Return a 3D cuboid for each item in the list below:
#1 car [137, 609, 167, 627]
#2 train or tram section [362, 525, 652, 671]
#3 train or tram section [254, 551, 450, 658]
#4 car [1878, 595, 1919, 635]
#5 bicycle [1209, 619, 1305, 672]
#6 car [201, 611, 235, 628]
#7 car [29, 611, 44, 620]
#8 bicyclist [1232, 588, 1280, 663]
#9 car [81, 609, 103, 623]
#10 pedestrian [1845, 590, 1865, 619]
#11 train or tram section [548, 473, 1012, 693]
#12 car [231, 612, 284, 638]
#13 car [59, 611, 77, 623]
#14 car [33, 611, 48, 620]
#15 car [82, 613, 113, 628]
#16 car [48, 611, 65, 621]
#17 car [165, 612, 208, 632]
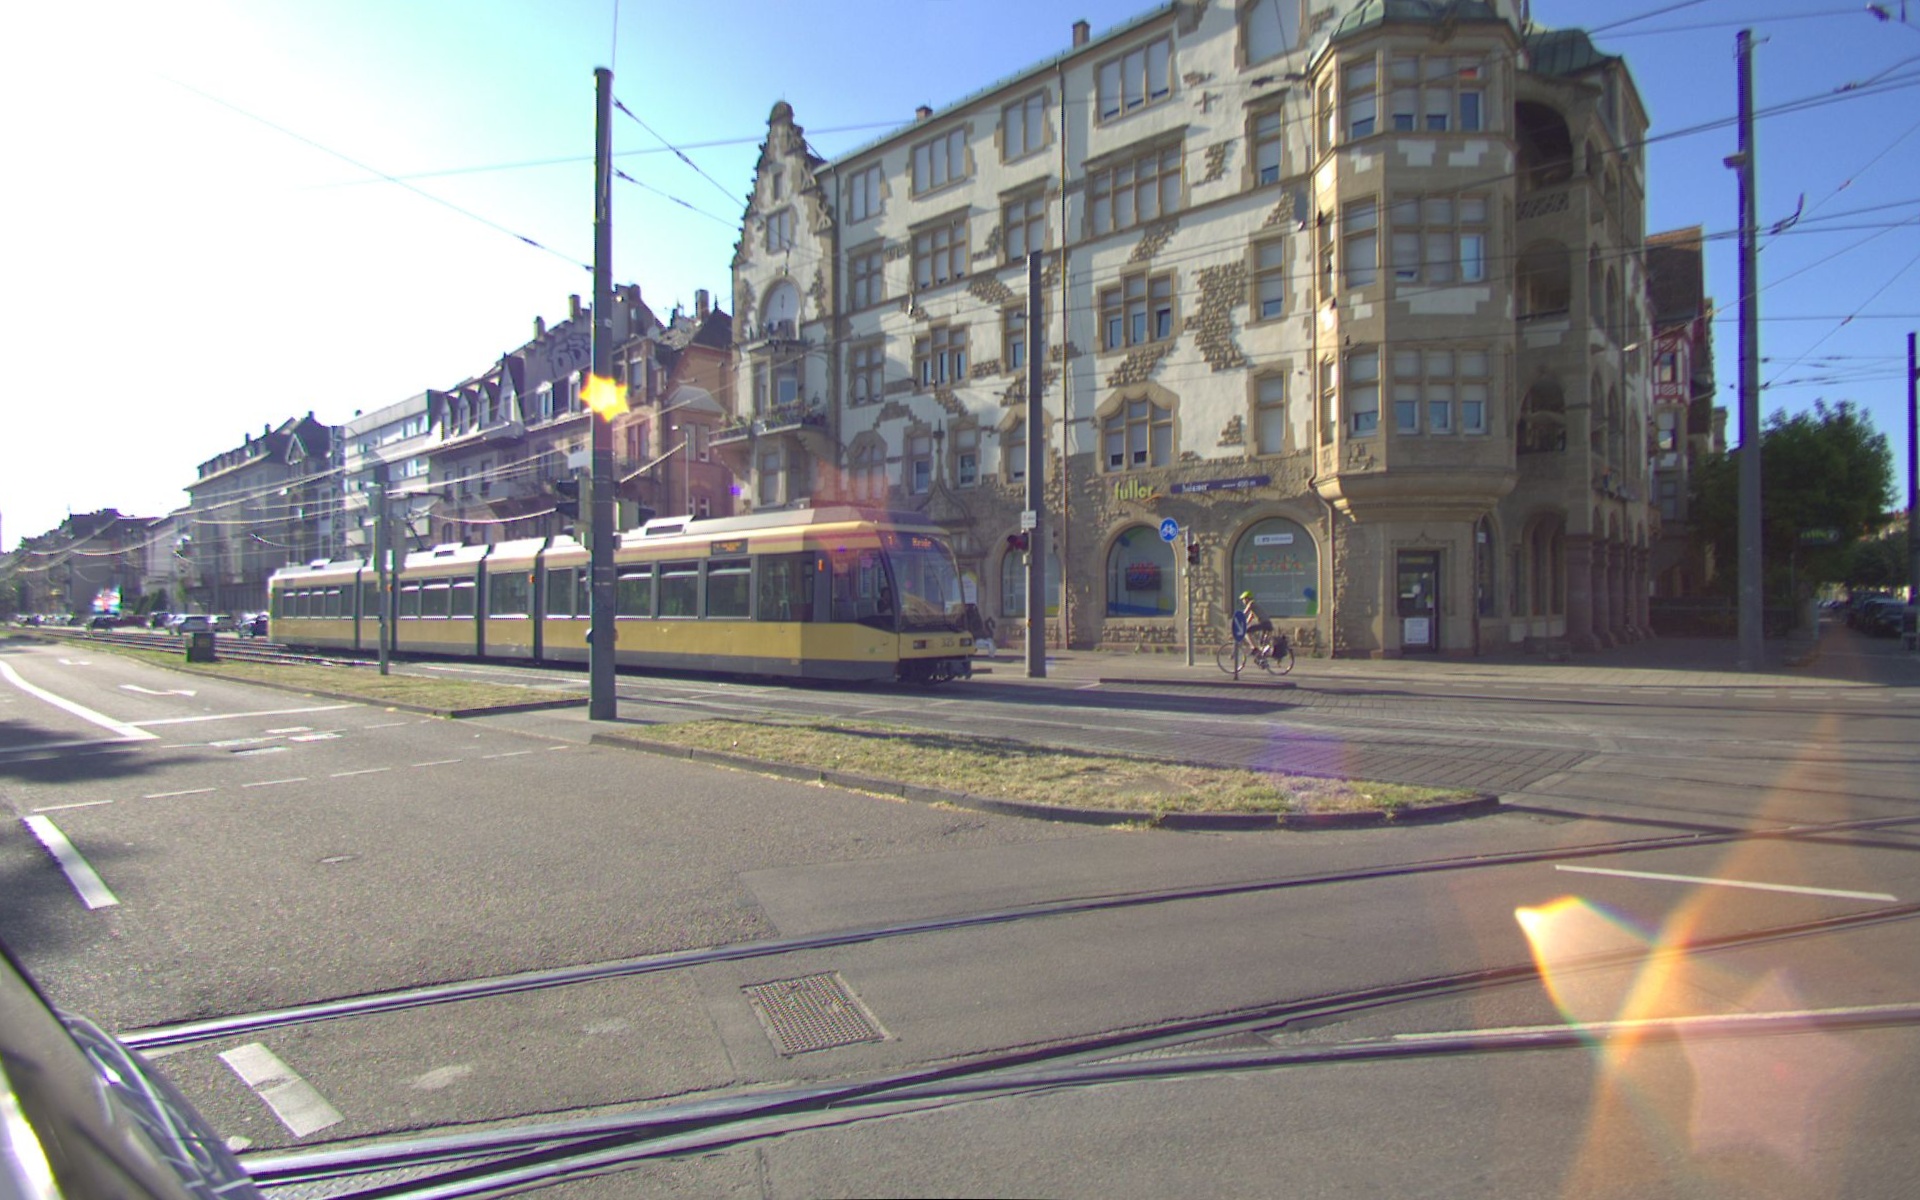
[{"bbox_3d":[-86.624,1.908,108.485,3.915,1.750,1.851,-1,1,43],"label":"car"},{"bbox_3d":[-13.858,0.007,29.866,13.201,3.515,2.783,-1,0,42],"label":"train or tram section"},{"bbox_3d":[-23.624,0.213,38.780,13.201,3.515,2.783,-1,0,42],"label":"train or tram section"},{"bbox_3d":[35.310,0.531,37.533,1.696,1.435,3.876,-1,0,40],"label":"car"},{"bbox_3d":[6.557,0.982,22.423,1.990,1.131,0.578,-1,-1,42],"label":"bicycle"},{"bbox_3d":[-67.065,1.757,91.469,3.823,1.490,1.778,-1,1,43],"label":"car"},{"bbox_3d":[-164.689,2.725,180.533,3.449,1.602,1.602,-1,1,42],"label":"car"},{"bbox_3d":[6.557,0.556,22.420,0.838,1.627,0.578,-1,-1,42],"label":"bicyclist"},{"bbox_3d":[-117.289,2.151,136.773,3.880,1.800,1.705,-1,1,42],"label":"car"},{"bbox_3d":[51.433,0.263,58.175,0.539,1.606,0.629,-1,0,2],"label":"pedestrian"},{"bbox_3d":[-4.491,-0.225,21.281,12.151,3.515,2.783,-1,0,42],"label":"train or tram section"},{"bbox_3d":[-42.264,1.480,60.832,4.157,1.468,1.800,-1,-1,43],"label":"car"},{"bbox_3d":[-133.033,2.530,150.854,3.449,1.602,1.602,-1,1,42],"label":"car"},{"bbox_3d":[-161.055,2.713,177.232,3.449,1.602,1.602,-1,1,42],"label":"car"},{"bbox_3d":[-87.140,2.026,102.199,4.164,1.468,1.801,-1,-1,41],"label":"car"},{"bbox_3d":[-139.766,2.461,156.592,3.449,1.602,1.602,-1,1,42],"label":"car"},{"bbox_3d":[-56.492,1.584,73.852,4.541,1.468,1.800,-1,-1,43],"label":"car"}]
